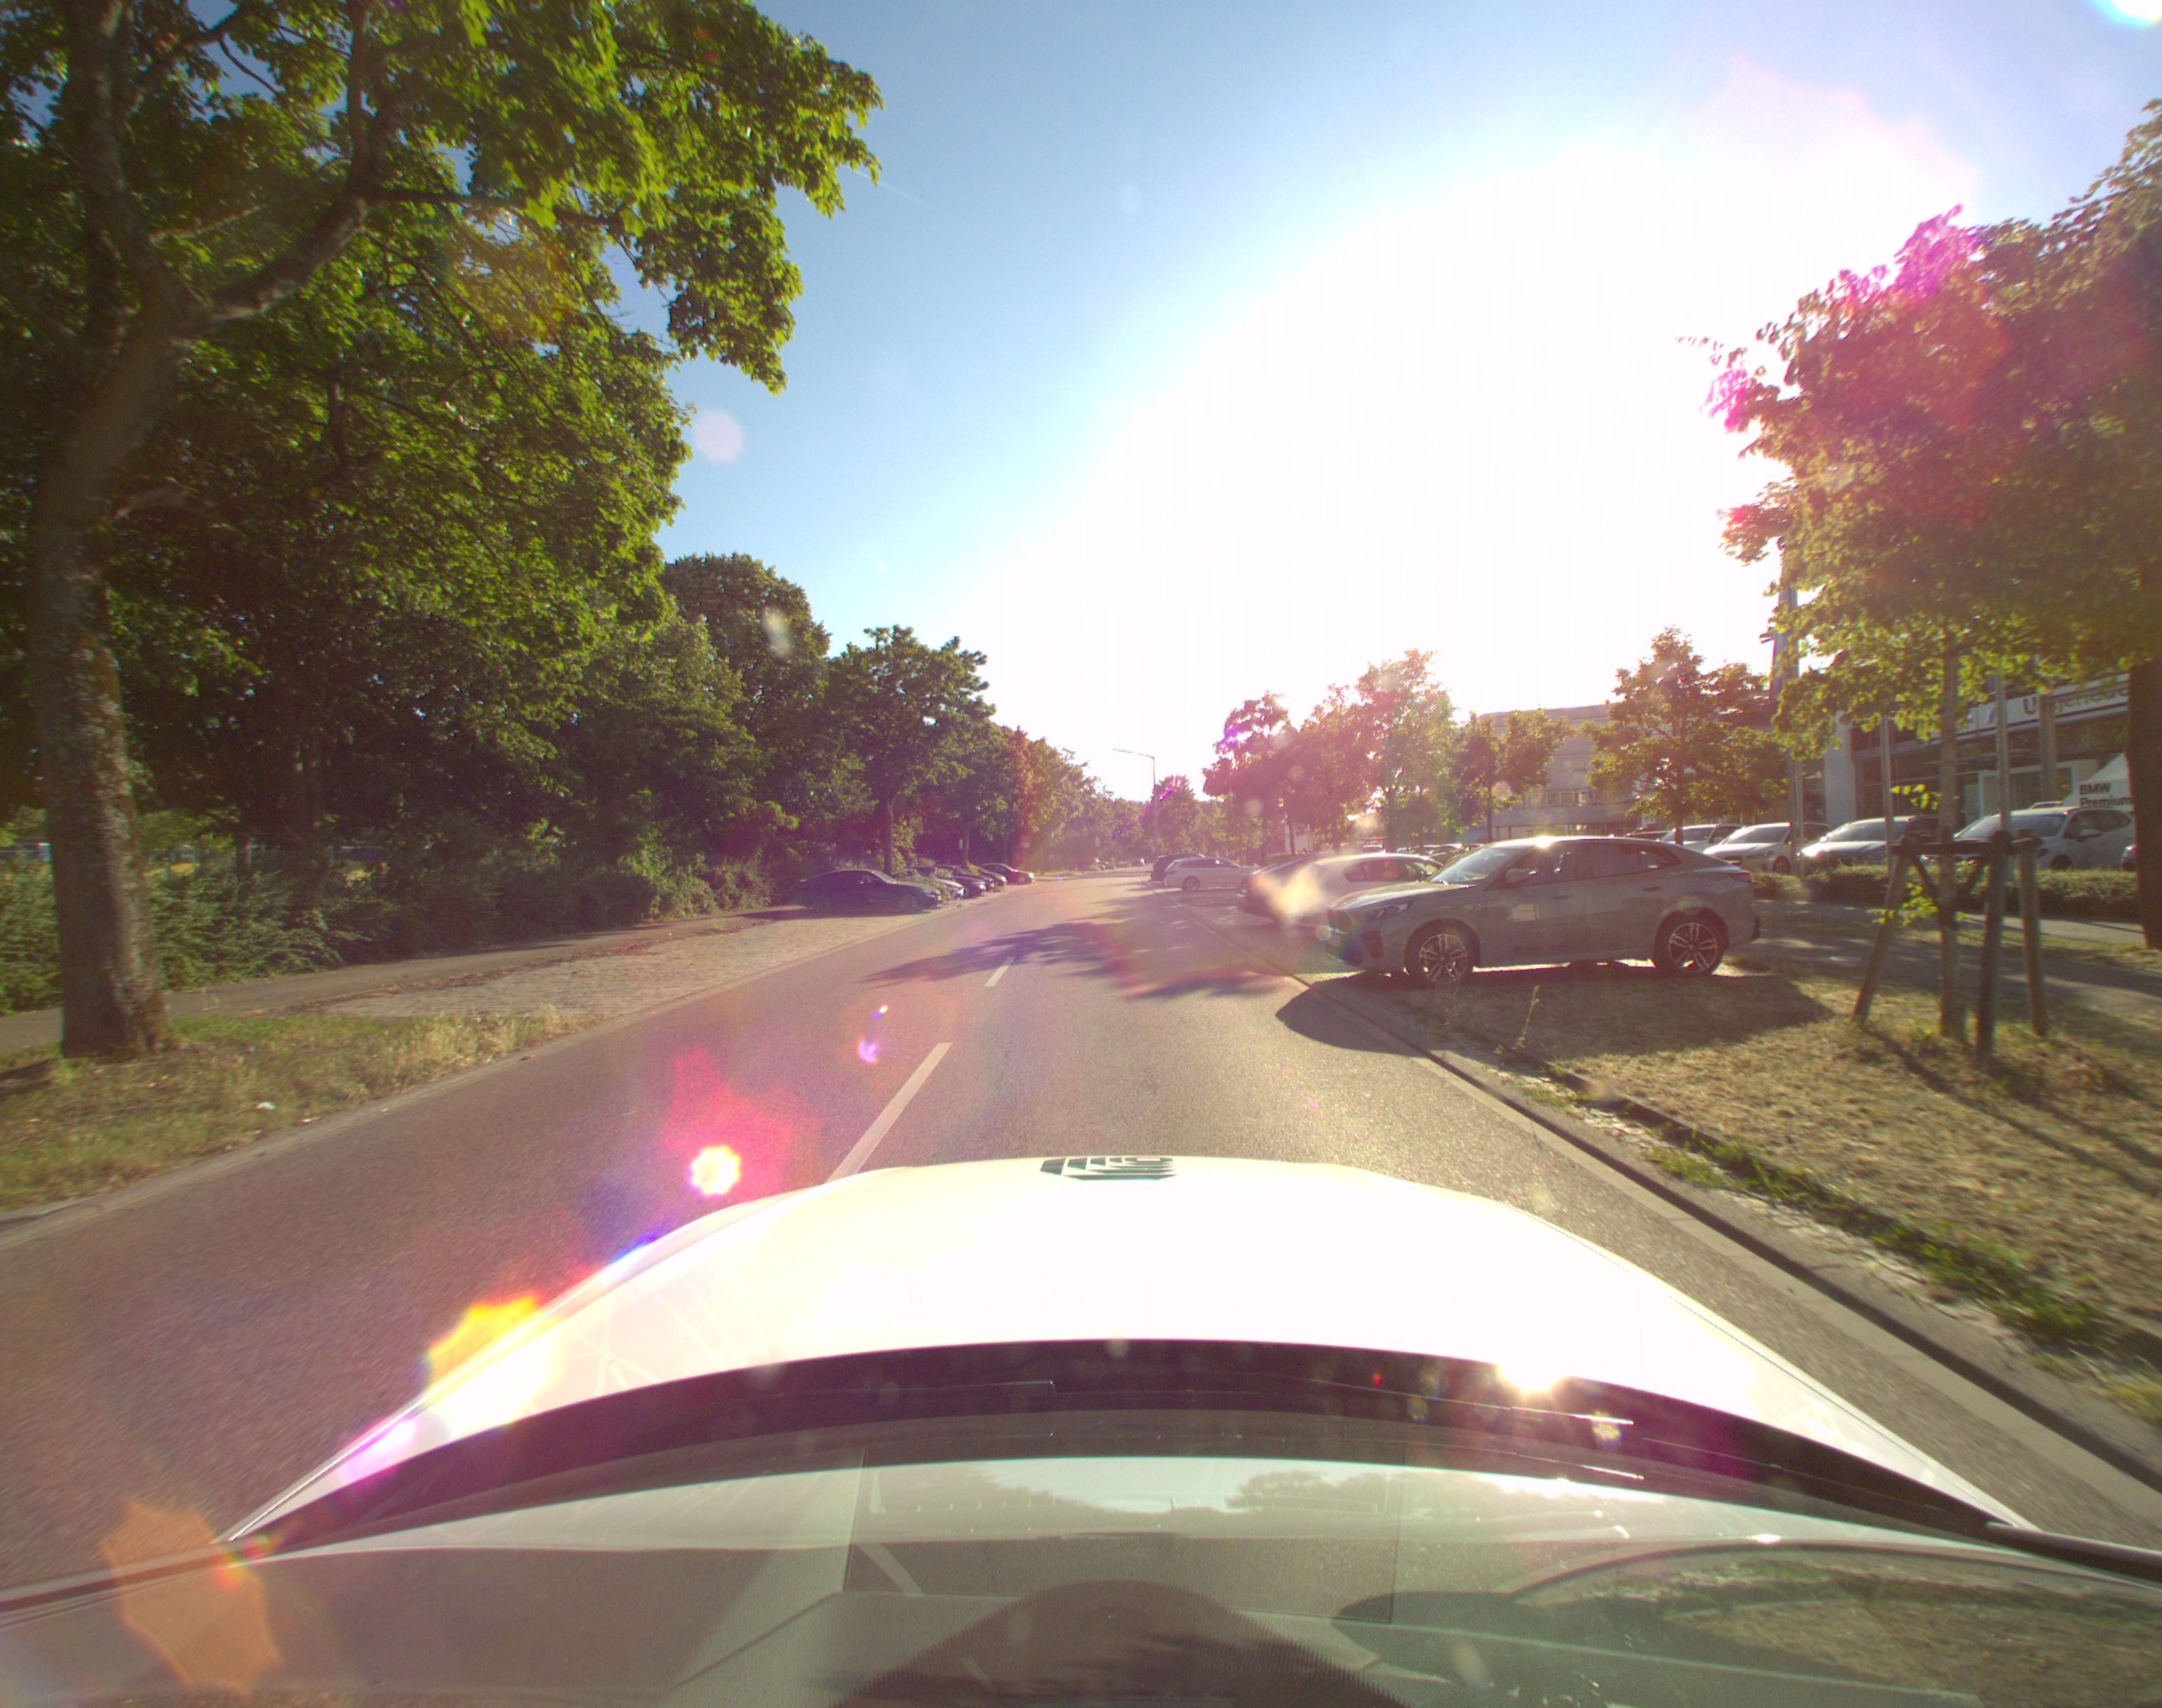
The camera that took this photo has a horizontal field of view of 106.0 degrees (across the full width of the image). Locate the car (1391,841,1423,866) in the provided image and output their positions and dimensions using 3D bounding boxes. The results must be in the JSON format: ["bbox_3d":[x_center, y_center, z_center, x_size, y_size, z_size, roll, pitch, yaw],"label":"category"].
[{"bbox_3d":[25.960,-0.029,65.033,2.015,1.828,4.581,-2,0,18],"label":"car"}]

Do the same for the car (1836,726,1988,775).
[{"bbox_3d":[33.450,-4.149,32.901,3.958,1.666,1.794,0,0,14],"label":"car"}]

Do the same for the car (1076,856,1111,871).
[{"bbox_3d":[1.901,1.432,123.034,4.975,2.020,2.180,-2,-1,8],"label":"car"}]

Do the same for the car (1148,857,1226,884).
[{"bbox_3d":[6.320,0.973,48.895,4.465,1.404,2.034,-2,0,1],"label":"car"}]

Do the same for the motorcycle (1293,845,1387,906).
[{"bbox_3d":[6.840,0.550,21.533,2.127,1.466,0.945,-3,-1,-14],"label":"motorcycle"}]

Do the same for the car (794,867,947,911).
[{"bbox_3d":[-6.990,1.149,27.446,4.635,1.422,1.916,0,0,-1],"label":"car"}]

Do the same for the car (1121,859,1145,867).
[{"bbox_3d":[10.230,1.791,159.359,4.328,1.479,2.007,0,0,13],"label":"car"}]

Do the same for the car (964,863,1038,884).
[{"bbox_3d":[-5.689,1.412,58.197,5.016,1.462,2.001,0,0,1],"label":"car"}]

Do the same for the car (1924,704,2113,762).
[{"bbox_3d":[32.075,-4.113,28.005,3.958,1.666,1.794,0,0,14],"label":"car"}]

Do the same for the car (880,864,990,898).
[{"bbox_3d":[-6.773,1.241,38.237,4.836,1.531,1.999,0,0,-2],"label":"car"}]

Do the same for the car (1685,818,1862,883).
[{"bbox_3d":[19.186,-0.115,22.553,4.613,1.574,1.983,-2,-1,-26],"label":"car"}]

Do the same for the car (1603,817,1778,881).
[{"bbox_3d":[19.122,-0.159,25.560,4.738,1.690,2.391,-3,-1,-25],"label":"car"}]

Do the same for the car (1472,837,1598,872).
[{"bbox_3d":[21.166,0.041,38.141,2.011,1.464,4.731,-2,-1,-43],"label":"car"}]

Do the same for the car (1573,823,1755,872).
[{"bbox_3d":[21.422,-0.199,30.102,2.011,1.571,5.128,-2,-1,-43],"label":"car"}]

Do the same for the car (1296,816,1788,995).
[{"bbox_3d":[5.100,0.537,9.504,4.578,1.584,1.999,-3,-1,-2],"label":"car"}]

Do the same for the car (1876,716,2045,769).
[{"bbox_3d":[32.778,-4.132,30.482,3.958,1.666,1.794,0,0,14],"label":"car"}]

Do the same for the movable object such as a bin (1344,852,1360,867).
[{"bbox_3d":[22.956,0.465,69.069,1.111,1.268,1.040,-2,-1,8],"label":"movable object such as a bin"}]

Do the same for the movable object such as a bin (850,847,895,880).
[{"bbox_3d":[-17.571,0.828,68.409,2.173,2.664,4.753,-2,-1,-34],"label":"movable object such as a bin"}]

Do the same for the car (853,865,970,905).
[{"bbox_3d":[-6.837,1.236,33.095,4.269,1.531,2.001,0,0,2],"label":"car"}]

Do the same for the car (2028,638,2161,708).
[{"bbox_3d":[31.526,-5.412,24.307,3.957,1.666,1.794,0,0,15],"label":"car"}]

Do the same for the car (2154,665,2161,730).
[{"bbox_3d":[29.794,-4.056,19.972,3.958,1.666,1.794,0,0,14],"label":"car"}]

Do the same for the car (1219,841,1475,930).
[{"bbox_3d":[5.337,0.610,16.834,4.608,1.456,2.000,-3,-1,1],"label":"car"}]

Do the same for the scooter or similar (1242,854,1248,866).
[{"bbox_3d":[17.779,0.677,88.387,0.517,1.272,1.390,-2,-1,7],"label":"scooter or similar"}]

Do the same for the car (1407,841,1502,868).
[{"bbox_3d":[22.455,0.043,49.040,4.729,1.464,2.059,-3,-1,43],"label":"car"}]

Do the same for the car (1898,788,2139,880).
[{"bbox_3d":[18.968,-0.413,16.459,4.613,1.574,1.983,-3,-1,-26],"label":"car"}]

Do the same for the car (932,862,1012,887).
[{"bbox_3d":[-6.452,1.197,48.565,4.463,1.462,2.001,0,0,1],"label":"car"}]

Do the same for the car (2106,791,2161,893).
[{"bbox_3d":[18.911,-0.272,13.102,4.613,1.574,1.983,-2,-1,-26],"label":"car"}]

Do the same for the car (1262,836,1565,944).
[{"bbox_3d":[5.552,0.582,14.061,4.360,1.479,2.000,-3,-1,1],"label":"car"}]

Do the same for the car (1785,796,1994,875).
[{"bbox_3d":[18.936,-0.435,19.066,4.613,1.574,1.983,-3,-1,-26],"label":"car"}]

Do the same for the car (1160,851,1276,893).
[{"bbox_3d":[5.862,0.760,35.320,4.678,1.479,2.000,-3,-1,1],"label":"car"}]

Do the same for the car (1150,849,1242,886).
[{"bbox_3d":[6.040,0.709,43.108,4.671,1.751,2.195,-2,0,6],"label":"car"}]

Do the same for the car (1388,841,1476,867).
[{"bbox_3d":[22.627,0.009,52.600,4.729,1.464,2.012,-3,-1,43],"label":"car"}]

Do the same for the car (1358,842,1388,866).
[{"bbox_3d":[23.131,-0.012,64.739,2.015,1.828,4.999,-2,0,18],"label":"car"}]

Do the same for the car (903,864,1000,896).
[{"bbox_3d":[-6.453,1.288,40.948,4.463,1.531,2.001,0,0,1],"label":"car"}]

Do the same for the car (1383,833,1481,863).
[{"bbox_3d":[20.068,-0.319,46.711,4.729,1.464,2.012,-3,-1,43],"label":"car"}]

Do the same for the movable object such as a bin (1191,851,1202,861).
[{"bbox_3d":[34.371,0.602,242.551,2.819,3.068,4.943,0,0,12],"label":"movable object such as a bin"}]
